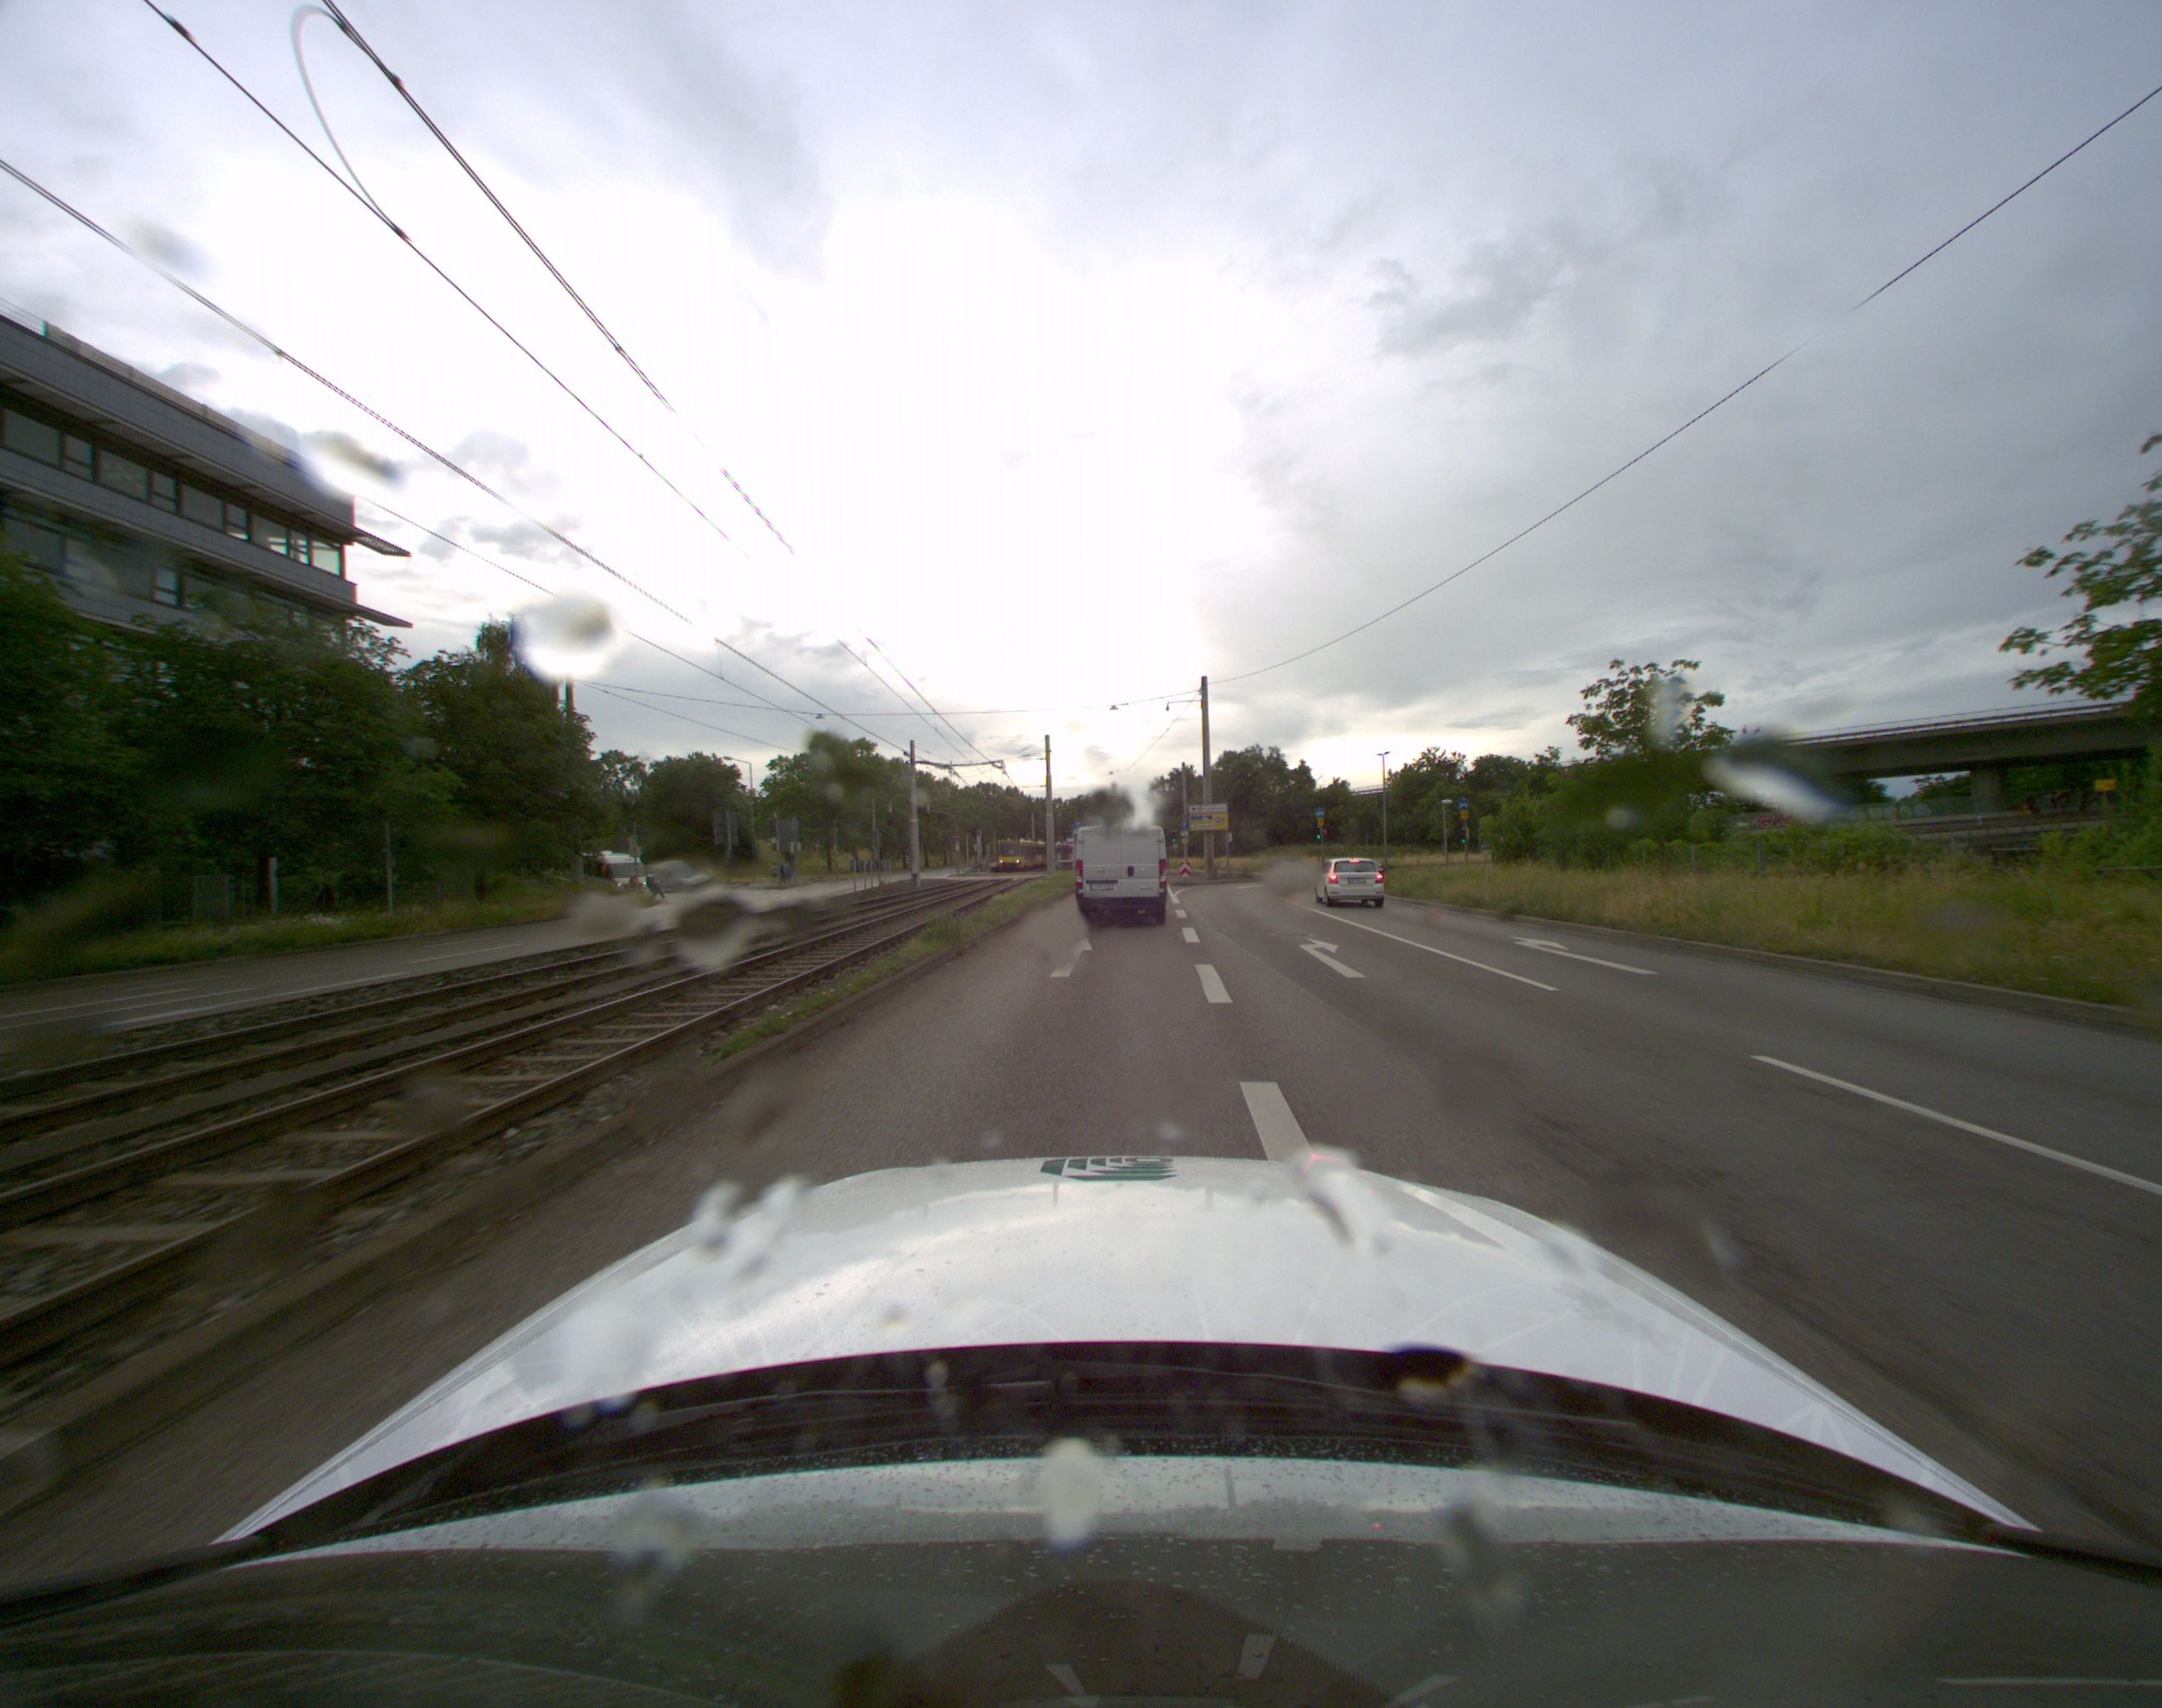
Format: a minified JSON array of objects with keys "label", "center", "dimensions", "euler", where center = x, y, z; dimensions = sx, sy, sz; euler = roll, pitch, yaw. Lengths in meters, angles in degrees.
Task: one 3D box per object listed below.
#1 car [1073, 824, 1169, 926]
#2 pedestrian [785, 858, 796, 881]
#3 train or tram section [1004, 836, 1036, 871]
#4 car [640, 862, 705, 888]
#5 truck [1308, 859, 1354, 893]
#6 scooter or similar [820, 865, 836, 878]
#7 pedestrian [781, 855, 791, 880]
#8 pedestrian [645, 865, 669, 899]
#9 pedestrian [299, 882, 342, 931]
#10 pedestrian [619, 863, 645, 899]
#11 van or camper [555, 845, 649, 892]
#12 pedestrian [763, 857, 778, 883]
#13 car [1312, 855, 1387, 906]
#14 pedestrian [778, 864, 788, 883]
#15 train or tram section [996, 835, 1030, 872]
[{"label":"car","center":[0.887,0.436,20.169],"dimensions":[2.083,2.196,5.061],"euler":[0,0,0]},{"label":"pedestrian","center":[-22.677,1.196,63.520],"dimensions":[0.504,1.787,0.833],"euler":[1,0,5]},{"label":"train or tram section","center":[-7.273,-0.042,97.821],"dimensions":[2.917,3.933,7.009],"euler":[1,0,2]},{"label":"car","center":[-28.715,1.460,57.209],"dimensions":[4.571,1.732,2.013],"euler":[-1,0,34]},{"label":"truck","center":[14.850,1.278,48.190],"dimensions":[1.975,1.790,4.439],"euler":[-2,0,24]},{"label":"scooter or similar","center":[-23.239,1.635,74.838],"dimensions":[1.287,1.161,0.375],"euler":[-2,0,-45]},{"label":"pedestrian","center":[-23.086,1.073,63.704],"dimensions":[0.493,1.955,0.723],"euler":[1,0,4]},{"label":"pedestrian","center":[-24.347,1.594,46.783],"dimensions":[0.627,1.867,0.960],"euler":[-2,0,32]},{"label":"pedestrian","center":[-28.276,1.944,30.302],"dimensions":[0.722,1.755,0.878],"euler":[1,0,3]},{"label":"pedestrian","center":[-25.659,1.548,46.575],"dimensions":[0.878,2.013,0.951],"euler":[-2,0,30]},{"label":"van or camper","center":[-31.974,0.952,54.238],"dimensions":[7.279,2.967,2.507],"euler":[-1,0,34]},{"label":"pedestrian","center":[-24.835,1.294,65.147],"dimensions":[0.885,2.013,0.864],"euler":[-2,0,-5]},{"label":"car","center":[8.305,0.775,25.449],"dimensions":[1.736,1.457,3.681],"euler":[0,0,10]},{"label":"pedestrian","center":[-23.994,1.571,65.546],"dimensions":[0.494,1.473,0.722],"euler":[1,0,2]},{"label":"train or tram section","center":[-7.523,-0.061,91.460],"dimensions":[2.917,3.933,7.009],"euler":[1,0,2]}]
